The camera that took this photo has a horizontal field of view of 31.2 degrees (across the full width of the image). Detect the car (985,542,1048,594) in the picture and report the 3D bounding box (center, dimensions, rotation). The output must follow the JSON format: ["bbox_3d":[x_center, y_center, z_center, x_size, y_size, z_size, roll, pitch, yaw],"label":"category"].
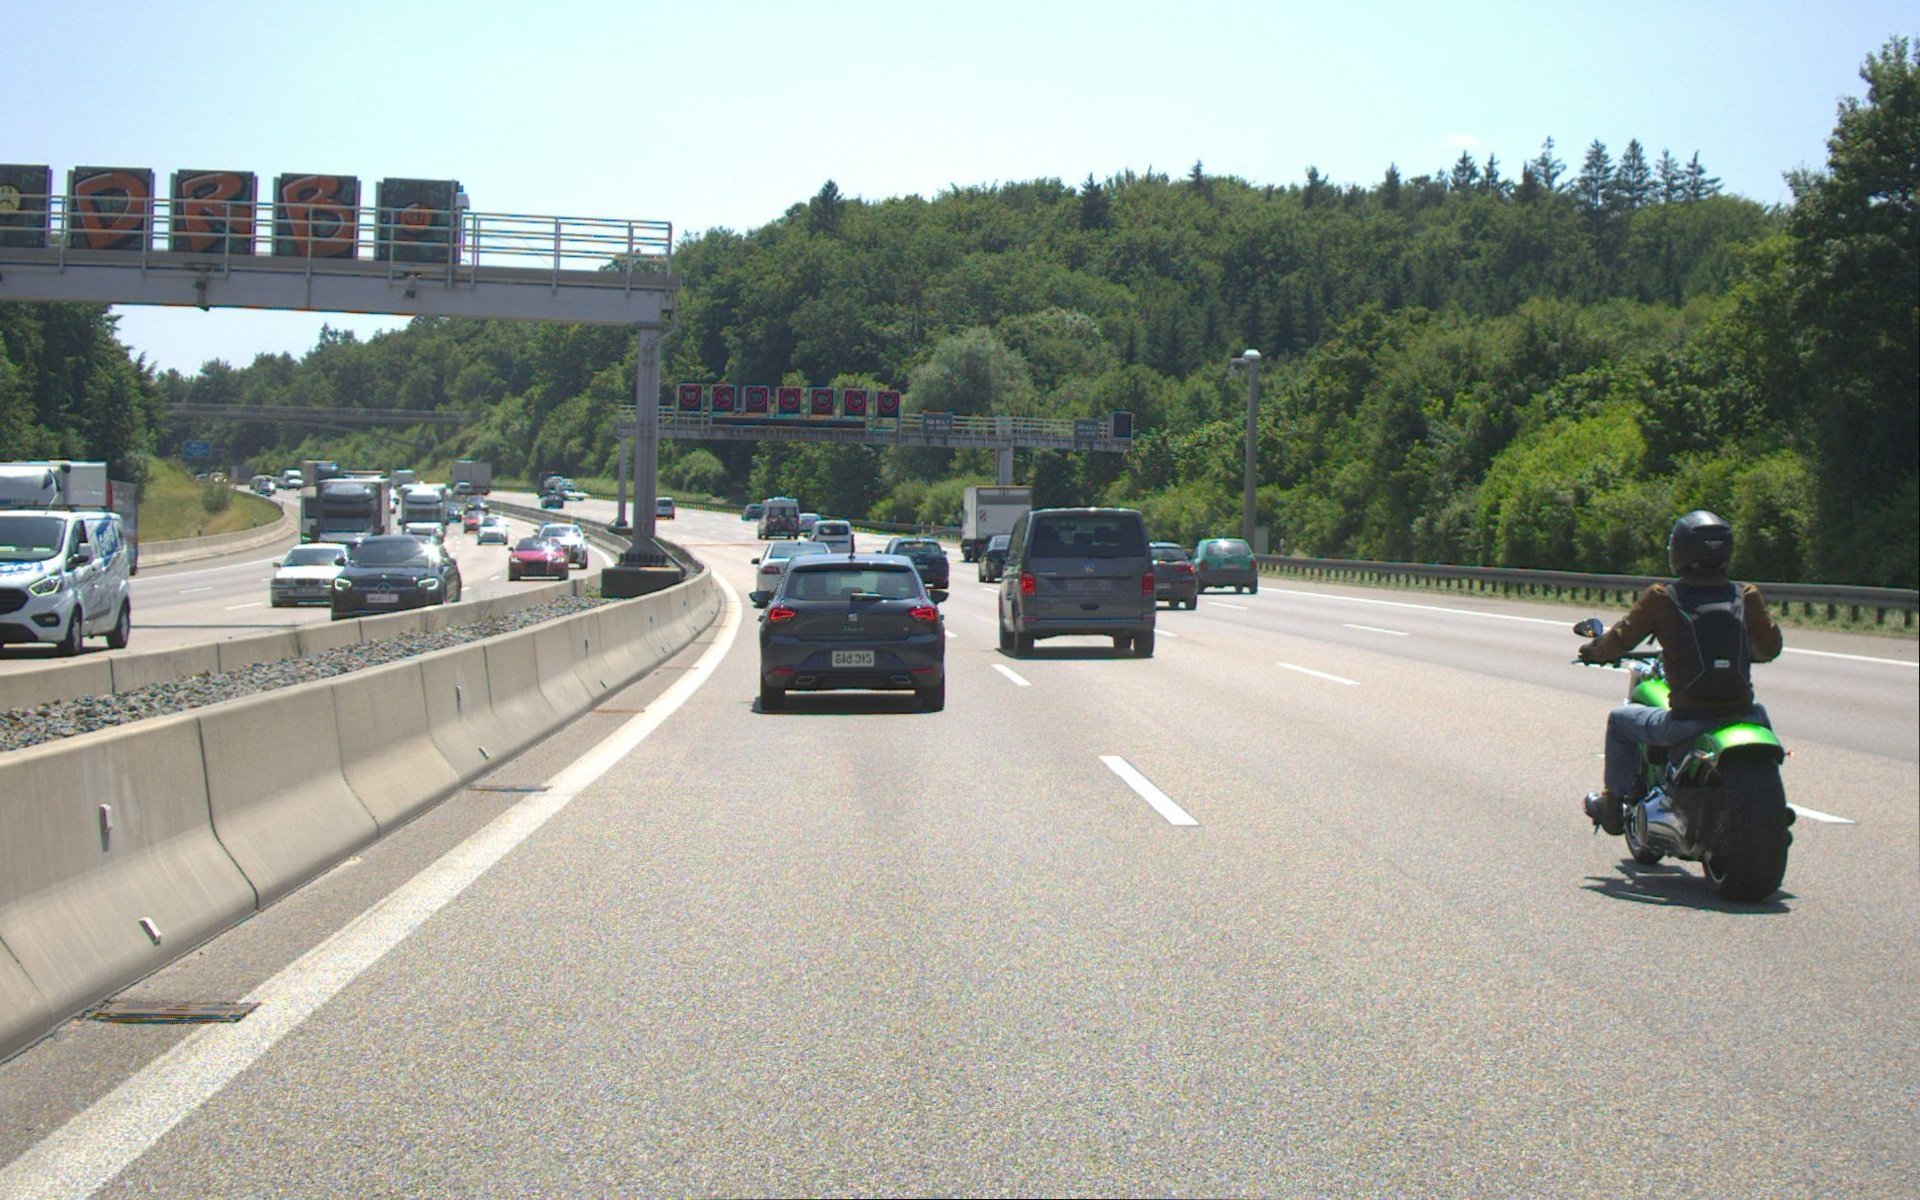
[{"bbox_3d":[1.708,-1.012,105.977,1.665,1.403,4.904,0,3,-2],"label":"car"}]

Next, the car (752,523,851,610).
[{"bbox_3d":[-3.503,-0.723,76.521,2.012,1.839,4.000,0,-1,0],"label":"car"}]

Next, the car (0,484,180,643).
[{"bbox_3d":[-12.613,-0.516,47.929,2.195,2.048,7.142,0,1,-3],"label":"car"}]

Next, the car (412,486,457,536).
[{"bbox_3d":[-27.821,-4.700,182.095,1.993,2.566,4.170,1,1,-4],"label":"car"}]

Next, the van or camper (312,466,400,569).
[{"bbox_3d":[-22.130,-3.031,126.202,2.430,3.665,7.760,0,1,-4],"label":"van or camper"}]

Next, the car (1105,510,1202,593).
[{"bbox_3d":[4.089,-1.042,73.328,1.849,1.722,4.000,0,1,0],"label":"car"}]

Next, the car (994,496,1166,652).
[{"bbox_3d":[1.588,-0.381,47.282,1.962,2.026,5.084,0,1,-2],"label":"car"}]

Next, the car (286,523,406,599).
[{"bbox_3d":[-14.494,-0.952,81.408,2.287,1.722,5.032,0,1,-5],"label":"car"}]

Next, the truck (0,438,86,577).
[{"bbox_3d":[-22.256,-2.151,80.852,2.487,3.156,4.402,1,1,-4],"label":"truck"}]

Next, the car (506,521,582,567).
[{"bbox_3d":[-13.264,-1.808,109.814,2.047,1.437,5.222,0,1,-3],"label":"car"}]

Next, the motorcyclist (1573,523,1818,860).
[{"bbox_3d":[3.214,0.378,15.114,0.852,1.422,1.023,0,1,0],"label":"motorcyclist"}]

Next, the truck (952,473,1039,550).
[{"bbox_3d":[1.486,-3.854,148.257,2.985,3.155,7.577,0,3,-5],"label":"truck"}]

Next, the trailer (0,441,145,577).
[{"bbox_3d":[-22.604,-2.183,86.204,2.474,3.143,10.481,1,0,-4],"label":"trailer"}]

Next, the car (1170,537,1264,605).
[{"bbox_3d":[6.714,-0.773,90.171,1.993,1.722,4.001,0,1,-3],"label":"car"}]

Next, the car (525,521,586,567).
[{"bbox_3d":[-15.443,-2.141,131.401,1.993,1.722,4.001,0,1,-2],"label":"car"}]

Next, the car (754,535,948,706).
[{"bbox_3d":[-1.045,0.143,32.622,1.708,1.428,4.001,1,2,-2],"label":"car"}]

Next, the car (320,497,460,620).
[{"bbox_3d":[-9.754,-0.699,59.043,1.993,2.007,4.001,1,0,-4],"label":"car"}]

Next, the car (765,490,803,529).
[{"bbox_3d":[-10.833,-5.611,212.144,2.265,2.363,4.702,0,2,-2],"label":"car"}]

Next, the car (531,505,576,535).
[{"bbox_3d":[-21.387,-4.202,181.005,1.993,1.584,4.845,0,1,-3],"label":"car"}]

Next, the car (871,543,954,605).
[{"bbox_3d":[-1.356,-0.762,97.282,1.993,1.722,4.150,0,1,-6],"label":"car"}]

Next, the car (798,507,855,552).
[{"bbox_3d":[-5.582,-2.949,143.250,2.103,1.738,4.689,0,3,-5],"label":"car"}]

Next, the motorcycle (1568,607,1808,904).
[{"bbox_3d":[3.187,0.636,15.250,0.535,1.131,2.437,0,2,0],"label":"motorcycle"}]

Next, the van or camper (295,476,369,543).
[{"bbox_3d":[-31.468,-4.496,172.480,2.764,3.114,8.096,1,0,-4],"label":"van or camper"}]
